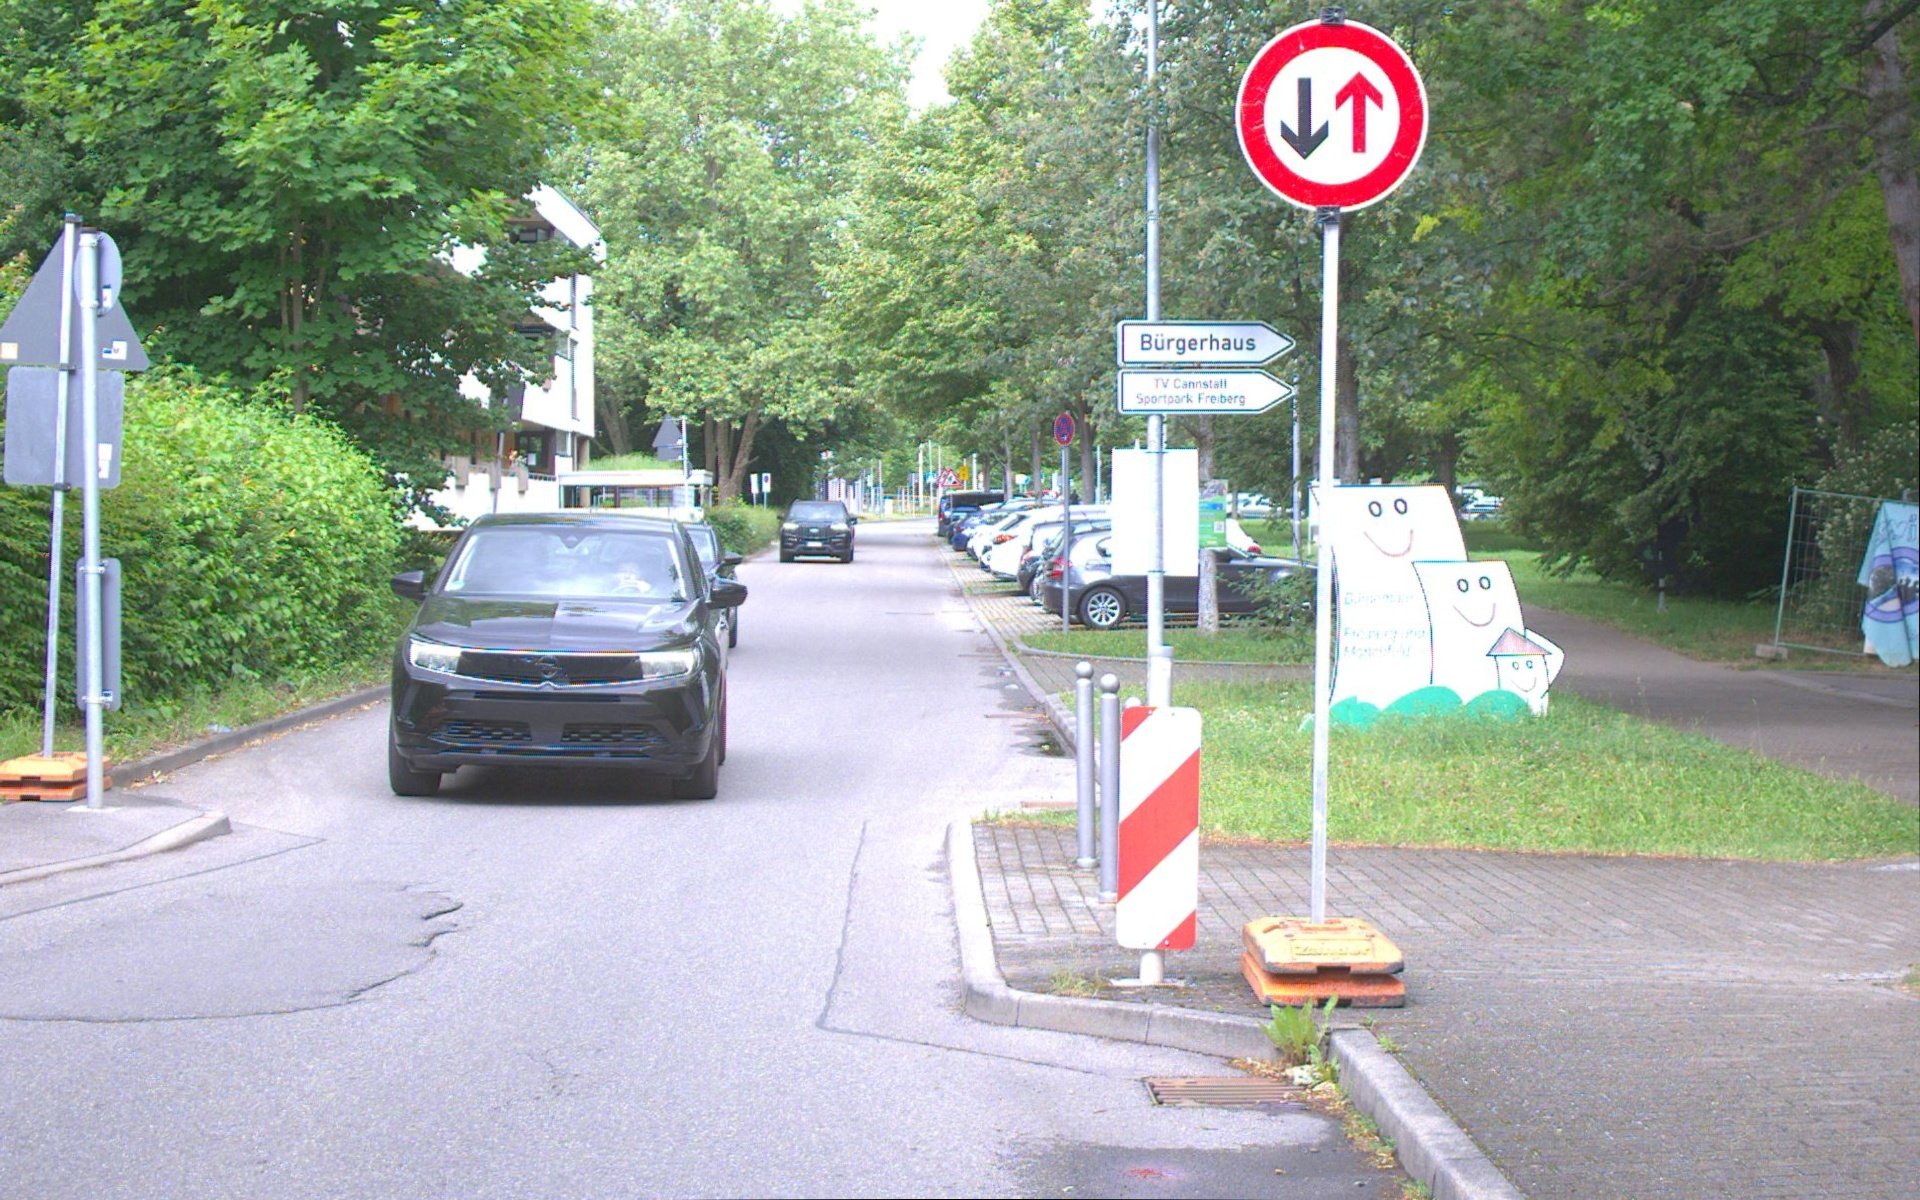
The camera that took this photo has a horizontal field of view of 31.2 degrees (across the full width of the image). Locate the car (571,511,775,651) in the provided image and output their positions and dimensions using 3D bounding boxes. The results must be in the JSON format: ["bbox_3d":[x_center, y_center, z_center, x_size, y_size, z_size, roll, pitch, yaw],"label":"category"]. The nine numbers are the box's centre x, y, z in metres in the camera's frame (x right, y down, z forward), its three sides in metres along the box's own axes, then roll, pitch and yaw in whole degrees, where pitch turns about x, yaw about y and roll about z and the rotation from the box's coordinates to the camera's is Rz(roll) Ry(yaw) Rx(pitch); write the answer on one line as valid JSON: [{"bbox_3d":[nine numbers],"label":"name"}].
[{"bbox_3d":[-3.407,-0.270,41.541,1.803,1.586,4.296,1,1,4],"label":"car"}]

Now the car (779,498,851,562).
[{"bbox_3d":[-4.079,-1.988,97.174,1.968,1.741,4.339,0,1,-2],"label":"car"}]

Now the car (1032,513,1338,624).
[{"bbox_3d":[3.100,-0.431,47.954,4.062,1.429,2.000,-1,0,-1],"label":"car"}]

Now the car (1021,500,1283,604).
[{"bbox_3d":[3.077,-0.795,55.621,4.062,1.563,1.823,-1,2,-1],"label":"car"}]

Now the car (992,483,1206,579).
[{"bbox_3d":[2.797,-1.412,69.641,4.062,1.681,1.823,-4,2,-4],"label":"car"}]

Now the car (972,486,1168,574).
[{"bbox_3d":[2.408,-1.562,76.012,4.062,1.681,1.823,-4,2,-4],"label":"car"}]

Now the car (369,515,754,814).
[{"bbox_3d":[-2.261,0.295,20.534,1.803,1.586,4.296,0,1,0],"label":"car"}]

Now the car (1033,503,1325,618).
[{"bbox_3d":[3.159,-0.567,50.144,4.062,1.563,1.822,-1,0,-1],"label":"car"}]

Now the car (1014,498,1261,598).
[{"bbox_3d":[3.088,-0.925,60.330,4.062,1.483,1.823,-4,2,-4],"label":"car"}]

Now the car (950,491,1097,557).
[{"bbox_3d":[1.836,-2.214,100.107,4.062,1.681,1.823,-4,2,-4],"label":"car"}]

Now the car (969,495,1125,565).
[{"bbox_3d":[2.382,-1.939,95.045,4.062,1.681,1.823,-4,2,-4],"label":"car"}]

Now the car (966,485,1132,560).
[{"bbox_3d":[2.287,-2.007,89.155,4.062,1.681,1.823,-4,2,-4],"label":"car"}]

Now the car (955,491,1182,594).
[{"bbox_3d":[2.047,-1.106,65.642,4.062,1.681,1.823,-4,2,-4],"label":"car"}]
